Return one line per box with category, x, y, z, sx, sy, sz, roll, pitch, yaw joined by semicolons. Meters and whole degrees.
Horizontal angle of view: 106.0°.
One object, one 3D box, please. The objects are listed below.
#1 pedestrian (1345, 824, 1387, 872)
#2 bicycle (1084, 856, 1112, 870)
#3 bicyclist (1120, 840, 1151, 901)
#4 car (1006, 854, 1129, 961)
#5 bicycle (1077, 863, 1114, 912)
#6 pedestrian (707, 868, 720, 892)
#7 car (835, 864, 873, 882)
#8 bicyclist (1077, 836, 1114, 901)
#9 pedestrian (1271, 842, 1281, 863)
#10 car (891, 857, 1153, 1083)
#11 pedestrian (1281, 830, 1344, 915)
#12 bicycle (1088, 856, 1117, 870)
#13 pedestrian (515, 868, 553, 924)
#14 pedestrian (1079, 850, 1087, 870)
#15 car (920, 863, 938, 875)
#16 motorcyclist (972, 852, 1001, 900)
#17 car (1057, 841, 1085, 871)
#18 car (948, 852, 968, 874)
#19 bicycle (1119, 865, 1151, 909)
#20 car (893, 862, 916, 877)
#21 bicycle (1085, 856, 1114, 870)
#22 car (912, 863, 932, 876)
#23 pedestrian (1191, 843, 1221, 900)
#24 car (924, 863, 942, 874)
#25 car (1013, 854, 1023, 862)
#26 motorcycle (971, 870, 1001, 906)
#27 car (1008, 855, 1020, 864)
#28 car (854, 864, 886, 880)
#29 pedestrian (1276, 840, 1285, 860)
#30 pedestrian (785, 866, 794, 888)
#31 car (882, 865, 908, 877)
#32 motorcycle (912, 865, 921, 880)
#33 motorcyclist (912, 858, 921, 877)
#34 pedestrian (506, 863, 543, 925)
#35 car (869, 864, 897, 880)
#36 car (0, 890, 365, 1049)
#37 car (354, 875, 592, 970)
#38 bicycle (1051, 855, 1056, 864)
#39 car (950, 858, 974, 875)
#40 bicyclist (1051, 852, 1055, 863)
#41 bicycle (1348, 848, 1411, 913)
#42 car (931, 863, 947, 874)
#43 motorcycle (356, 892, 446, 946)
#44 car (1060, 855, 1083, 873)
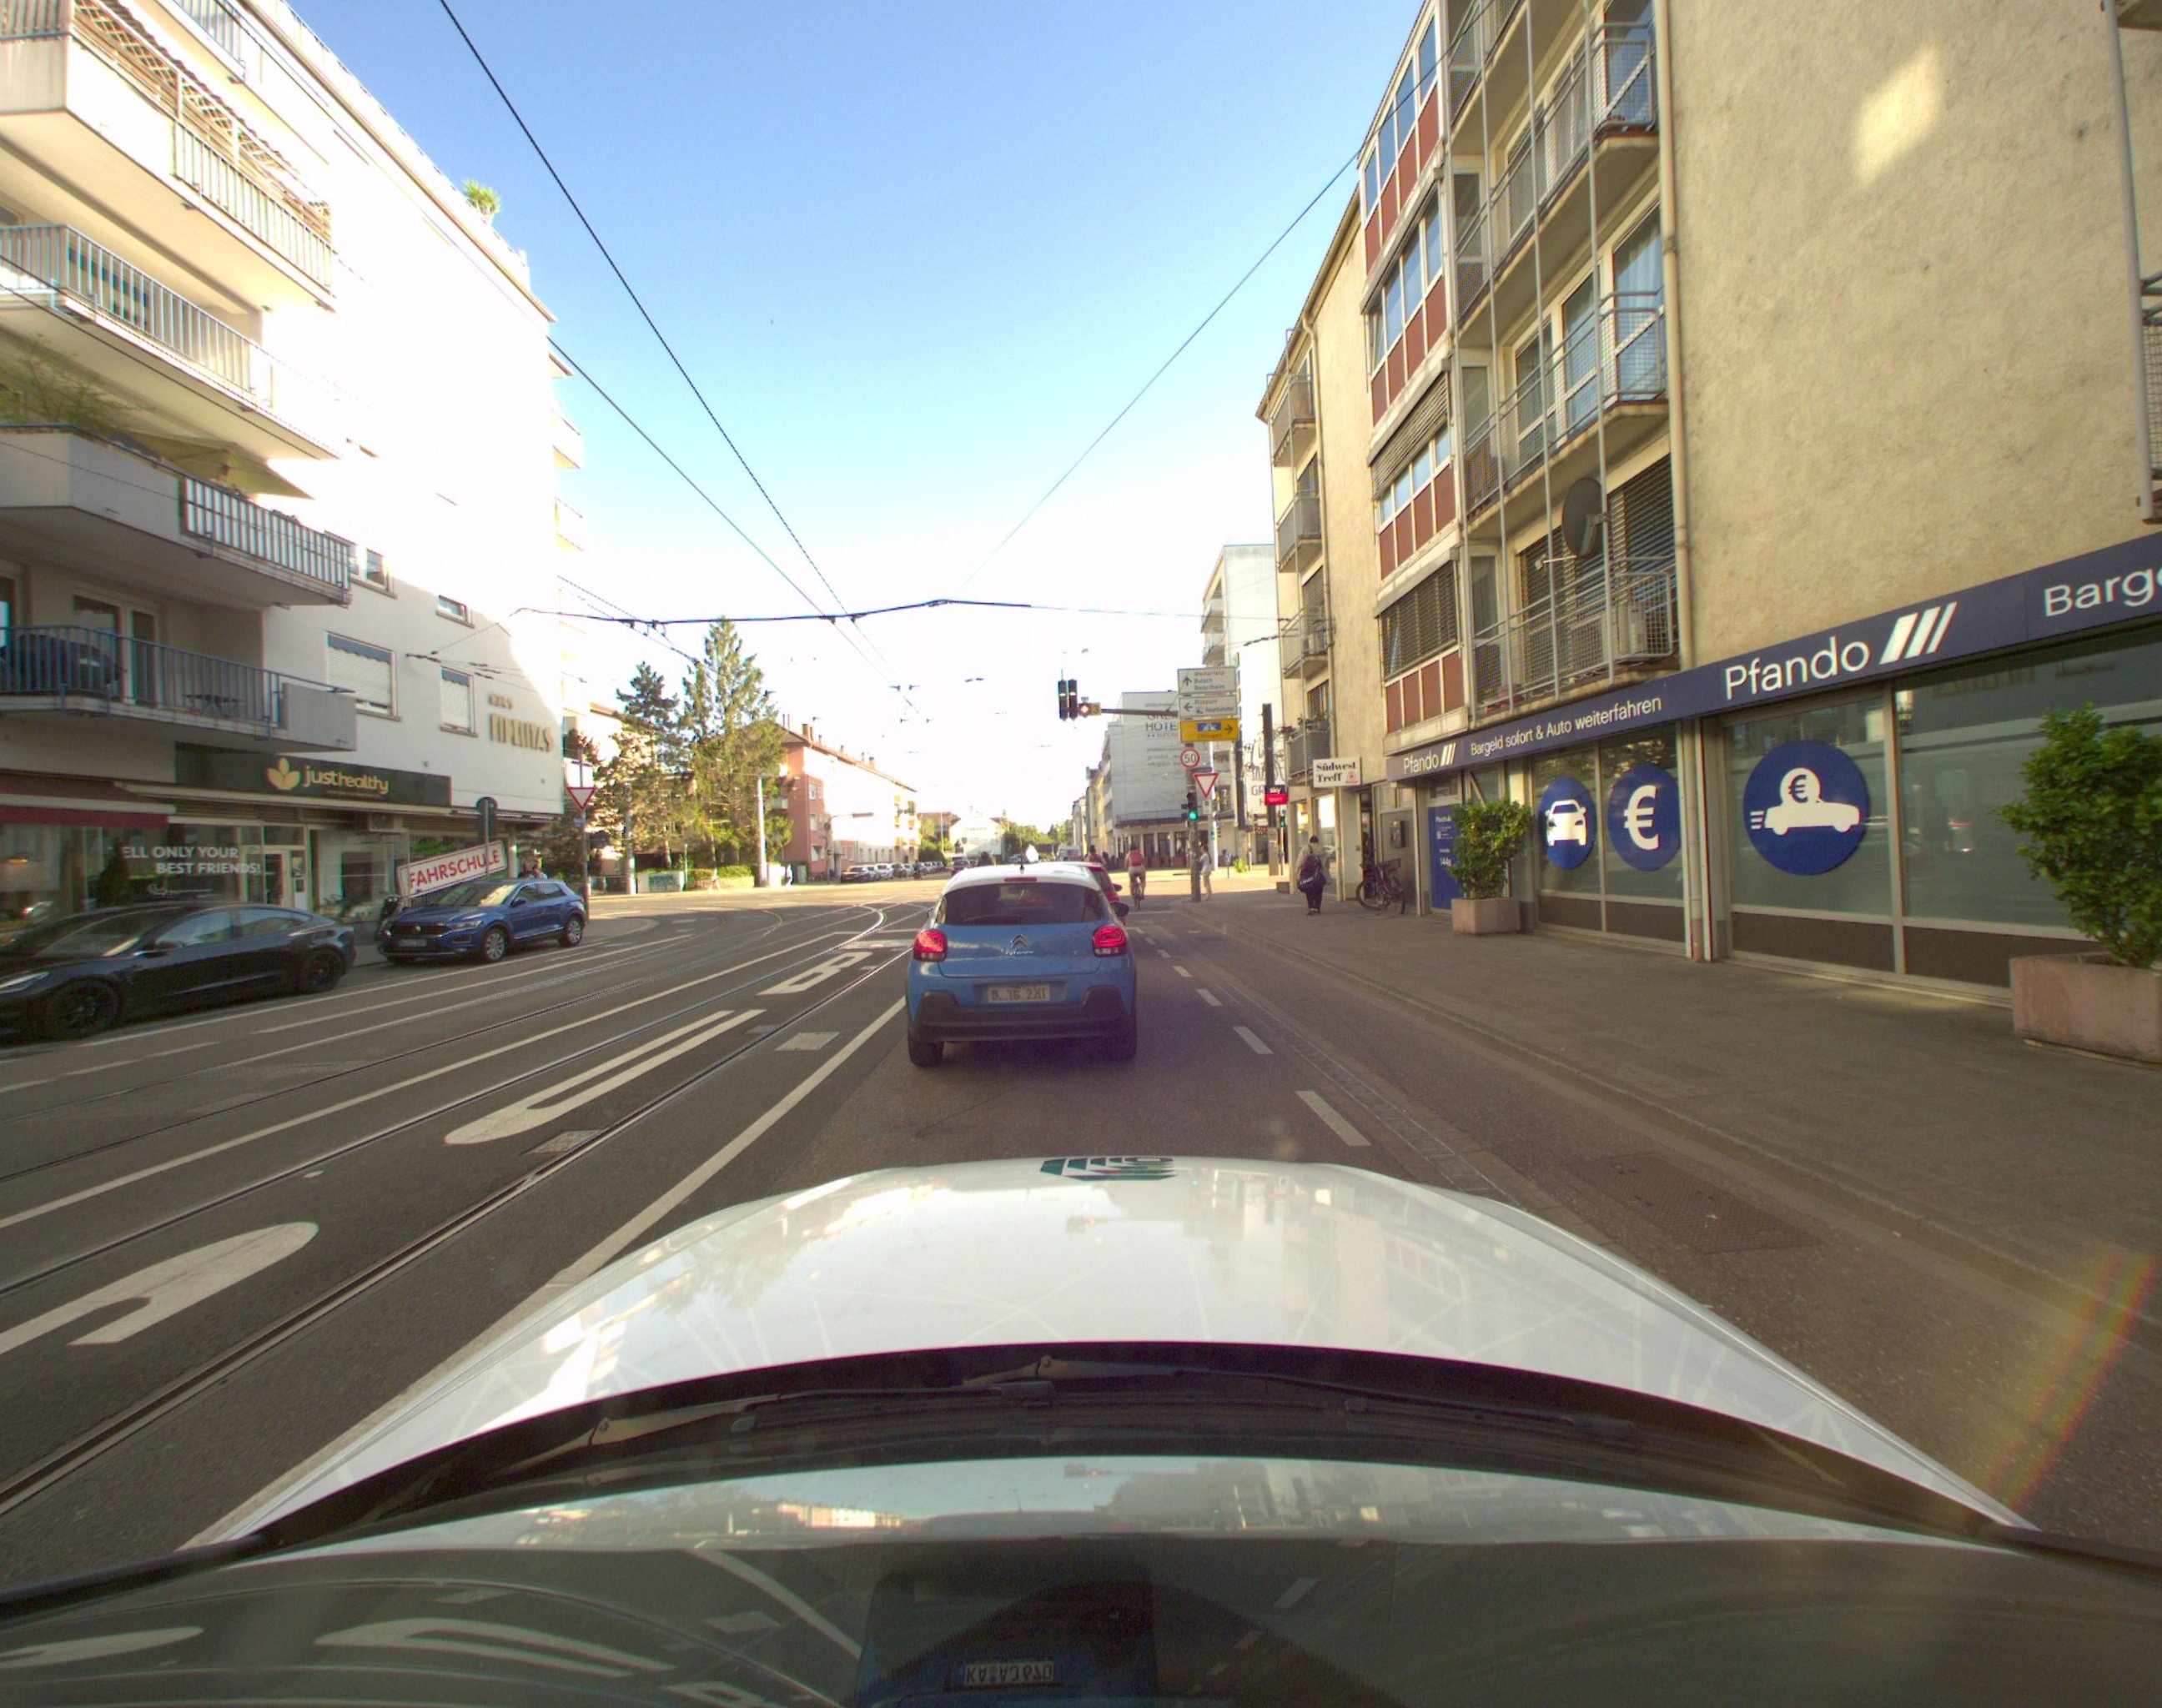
pedestrian;6.722;-0.150;19.212;0.627;1.087;0.672;-3;1;-36
bicycle;1.423;0.755;68.423;2.246;1.001;0.855;-4;0;-4
bicyclist;1.550;0.457;23.093;0.807;1.692;0.937;0;-1;6
car;-0.284;0.779;13.743;1.780;1.521;3.758;0;0;-3
bicycle;0.377;0.867;21.793;0.937;1.223;2.094;0;-1;1
pedestrian;-25.948;1.826;57.513;0.785;1.722;0.699;0;-1;-22
car;-19.374;1.631;69.680;2.149;1.432;4.435;0;-2;-3
bicyclist;0.385;0.382;21.781;0.937;1.673;1.079;0;-1;0
pedestrian;15.212;-0.099;63.558;0.604;1.608;0.673;-1;-1;29
car;-0.531;0.785;7.319;1.733;1.452;3.656;-1;0;-5
pedestrian;4.653;0.363;16.400;0.883;1.592;0.809;-5;1;-7
bicycle;1.764;0.737;65.931;2.246;1.001;0.855;-4;0;-4
pedestrian;-18.023;1.377;26.858;0.732;1.792;0.663;-2;0;5
pedestrian;0.166;0.516;69.814;0.611;1.654;0.671;0;-1;0
car;-20.198;1.953;108.152;1.865;1.576;3.995;0;-1;-3
motorcyclist;-2.968;0.694;25.620;0.853;1.488;0.728;0;-1;-5
car;-0.970;0.187;73.026;2.260;2.482;5.002;-1;0;-3
car;-18.060;1.265;119.656;2.411;3.142;3.487;0;-1;-1
bicycle;1.561;0.918;23.166;0.807;1.181;2.068;0;-1;6
car;-20.065;1.748;92.729;1.865;1.576;3.995;0;-1;-3
bicycle;1.535;0.740;67.305;2.246;1.001;0.855;-4;0;-4
car;-20.137;1.913;103.206;1.865;1.576;3.995;0;-1;-3
pedestrian;3.707;0.514;24.215;0.534;1.623;0.737;-7;-3;23
car;-20.582;1.997;113.363;1.865;1.576;3.995;0;-1;-3
car;-14.544;0.960;188.445;2.068;1.762;5.034;0;0;-1
motorcycle;-2.935;1.039;25.346;0.853;1.047;1.939;0;-1;-5
car;-14.023;1.204;170.511;2.212;1.932;4.946;0;-1;-1
car;-19.475;1.650;75.213;1.897;1.436;4.102;0;0;0
pedestrian;16.275;-0.329;66.430;0.604;1.608;0.673;-1;-1;24
pedestrian;-21.448;1.677;59.905;0.520;1.568;0.567;0;-1;-33
car;-19.758;1.770;86.719;1.942;1.239;4.279;0;0;-2
motorcycle;-13.608;1.550;67.461;0.712;1.220;1.957;-2;-2;-12
motorcyclist;-13.633;1.130;67.551;0.694;1.497;0.681;-2;-2;-12
pedestrian;-17.279;1.233;25.277;0.568;1.900;0.742;-2;-3;16
car;-19.414;1.719;79.960;1.737;1.526;4.227;0;0;-1
car;-11.999;1.289;10.426;1.764;1.475;4.443;0;0;-1
car;-11.886;1.249;16.343;1.765;1.503;4.233;0;1;-4
bicycle;-5.507;1.093;161.739;0.787;1.670;2.231;0;-1;3
car;-11.189;1.197;76.726;1.775;1.486;3.824;-3;0;-3
bicyclist;-5.510;0.678;161.746;0.787;2.024;0.987;0;-1;3
bicycle;5.745;0.499;15.752;0.495;1.161;1.776;-2;-1;-1
car;-20.777;2.049;119.612;1.865;1.576;3.995;0;-1;-3
motorcycle;-15.806;1.489;18.994;0.605;1.134;1.795;0;-1;-2
car;-0.832;0.845;68.026;1.654;1.431;3.882;0;-1;-4
